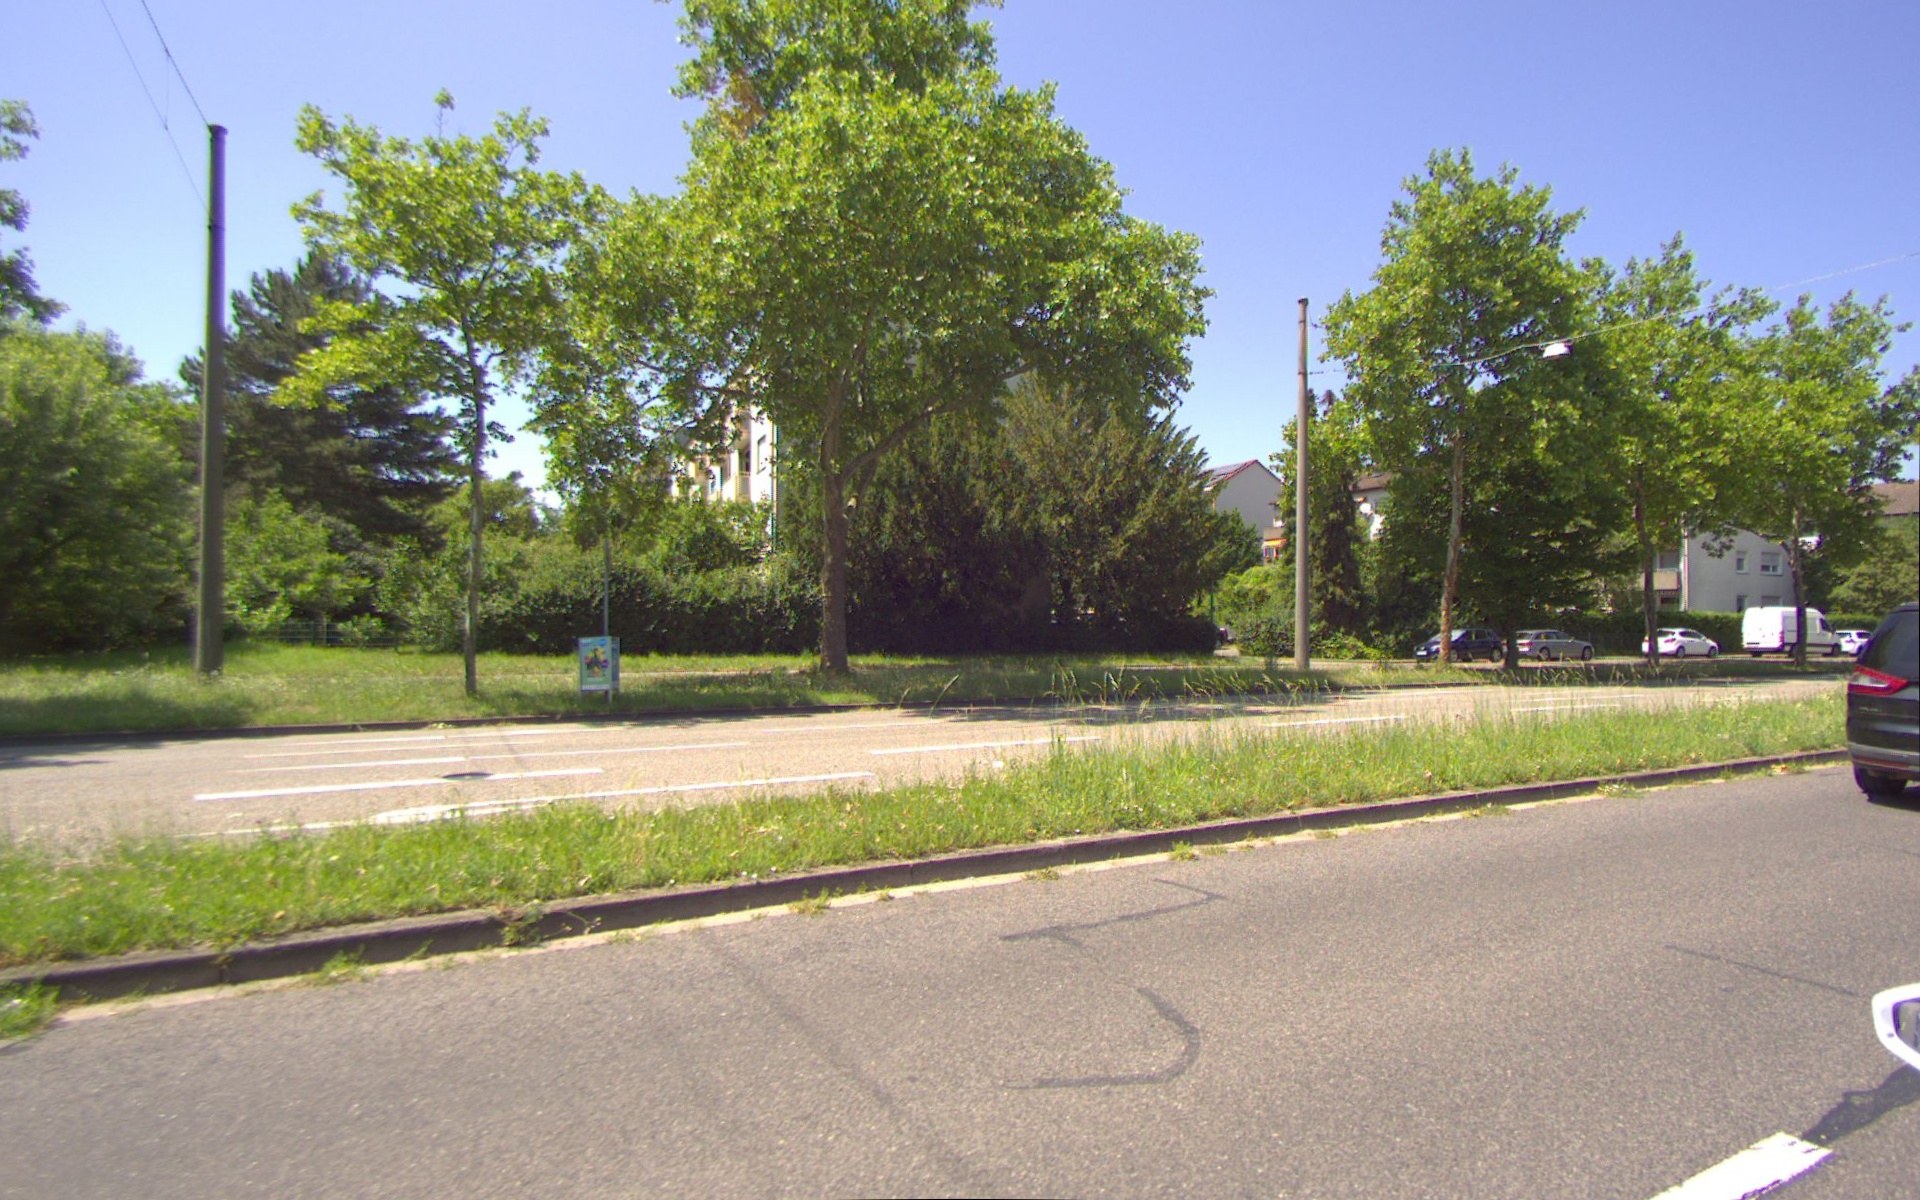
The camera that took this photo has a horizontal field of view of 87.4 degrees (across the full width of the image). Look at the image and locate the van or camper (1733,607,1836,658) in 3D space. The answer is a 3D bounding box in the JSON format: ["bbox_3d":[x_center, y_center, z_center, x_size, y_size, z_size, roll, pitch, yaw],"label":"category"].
[{"bbox_3d":[44.200,1.730,53.834,5.236,2.622,2.177,1,-1,-25],"label":"van or camper"}]

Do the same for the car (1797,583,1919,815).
[{"bbox_3d":[9.452,0.813,8.686,4.591,1.779,1.846,2,-1,-29],"label":"car"}]

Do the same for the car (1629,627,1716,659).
[{"bbox_3d":[35.484,2.128,50.031,3.946,1.494,1.876,1,-1,-26],"label":"car"}]

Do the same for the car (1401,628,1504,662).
[{"bbox_3d":[21.496,1.961,43.892,3.940,1.411,1.879,1,-1,-21],"label":"car"}]

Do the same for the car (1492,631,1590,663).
[{"bbox_3d":[26.598,2.151,46.011,3.941,1.394,1.878,1,-1,-21],"label":"car"}]
